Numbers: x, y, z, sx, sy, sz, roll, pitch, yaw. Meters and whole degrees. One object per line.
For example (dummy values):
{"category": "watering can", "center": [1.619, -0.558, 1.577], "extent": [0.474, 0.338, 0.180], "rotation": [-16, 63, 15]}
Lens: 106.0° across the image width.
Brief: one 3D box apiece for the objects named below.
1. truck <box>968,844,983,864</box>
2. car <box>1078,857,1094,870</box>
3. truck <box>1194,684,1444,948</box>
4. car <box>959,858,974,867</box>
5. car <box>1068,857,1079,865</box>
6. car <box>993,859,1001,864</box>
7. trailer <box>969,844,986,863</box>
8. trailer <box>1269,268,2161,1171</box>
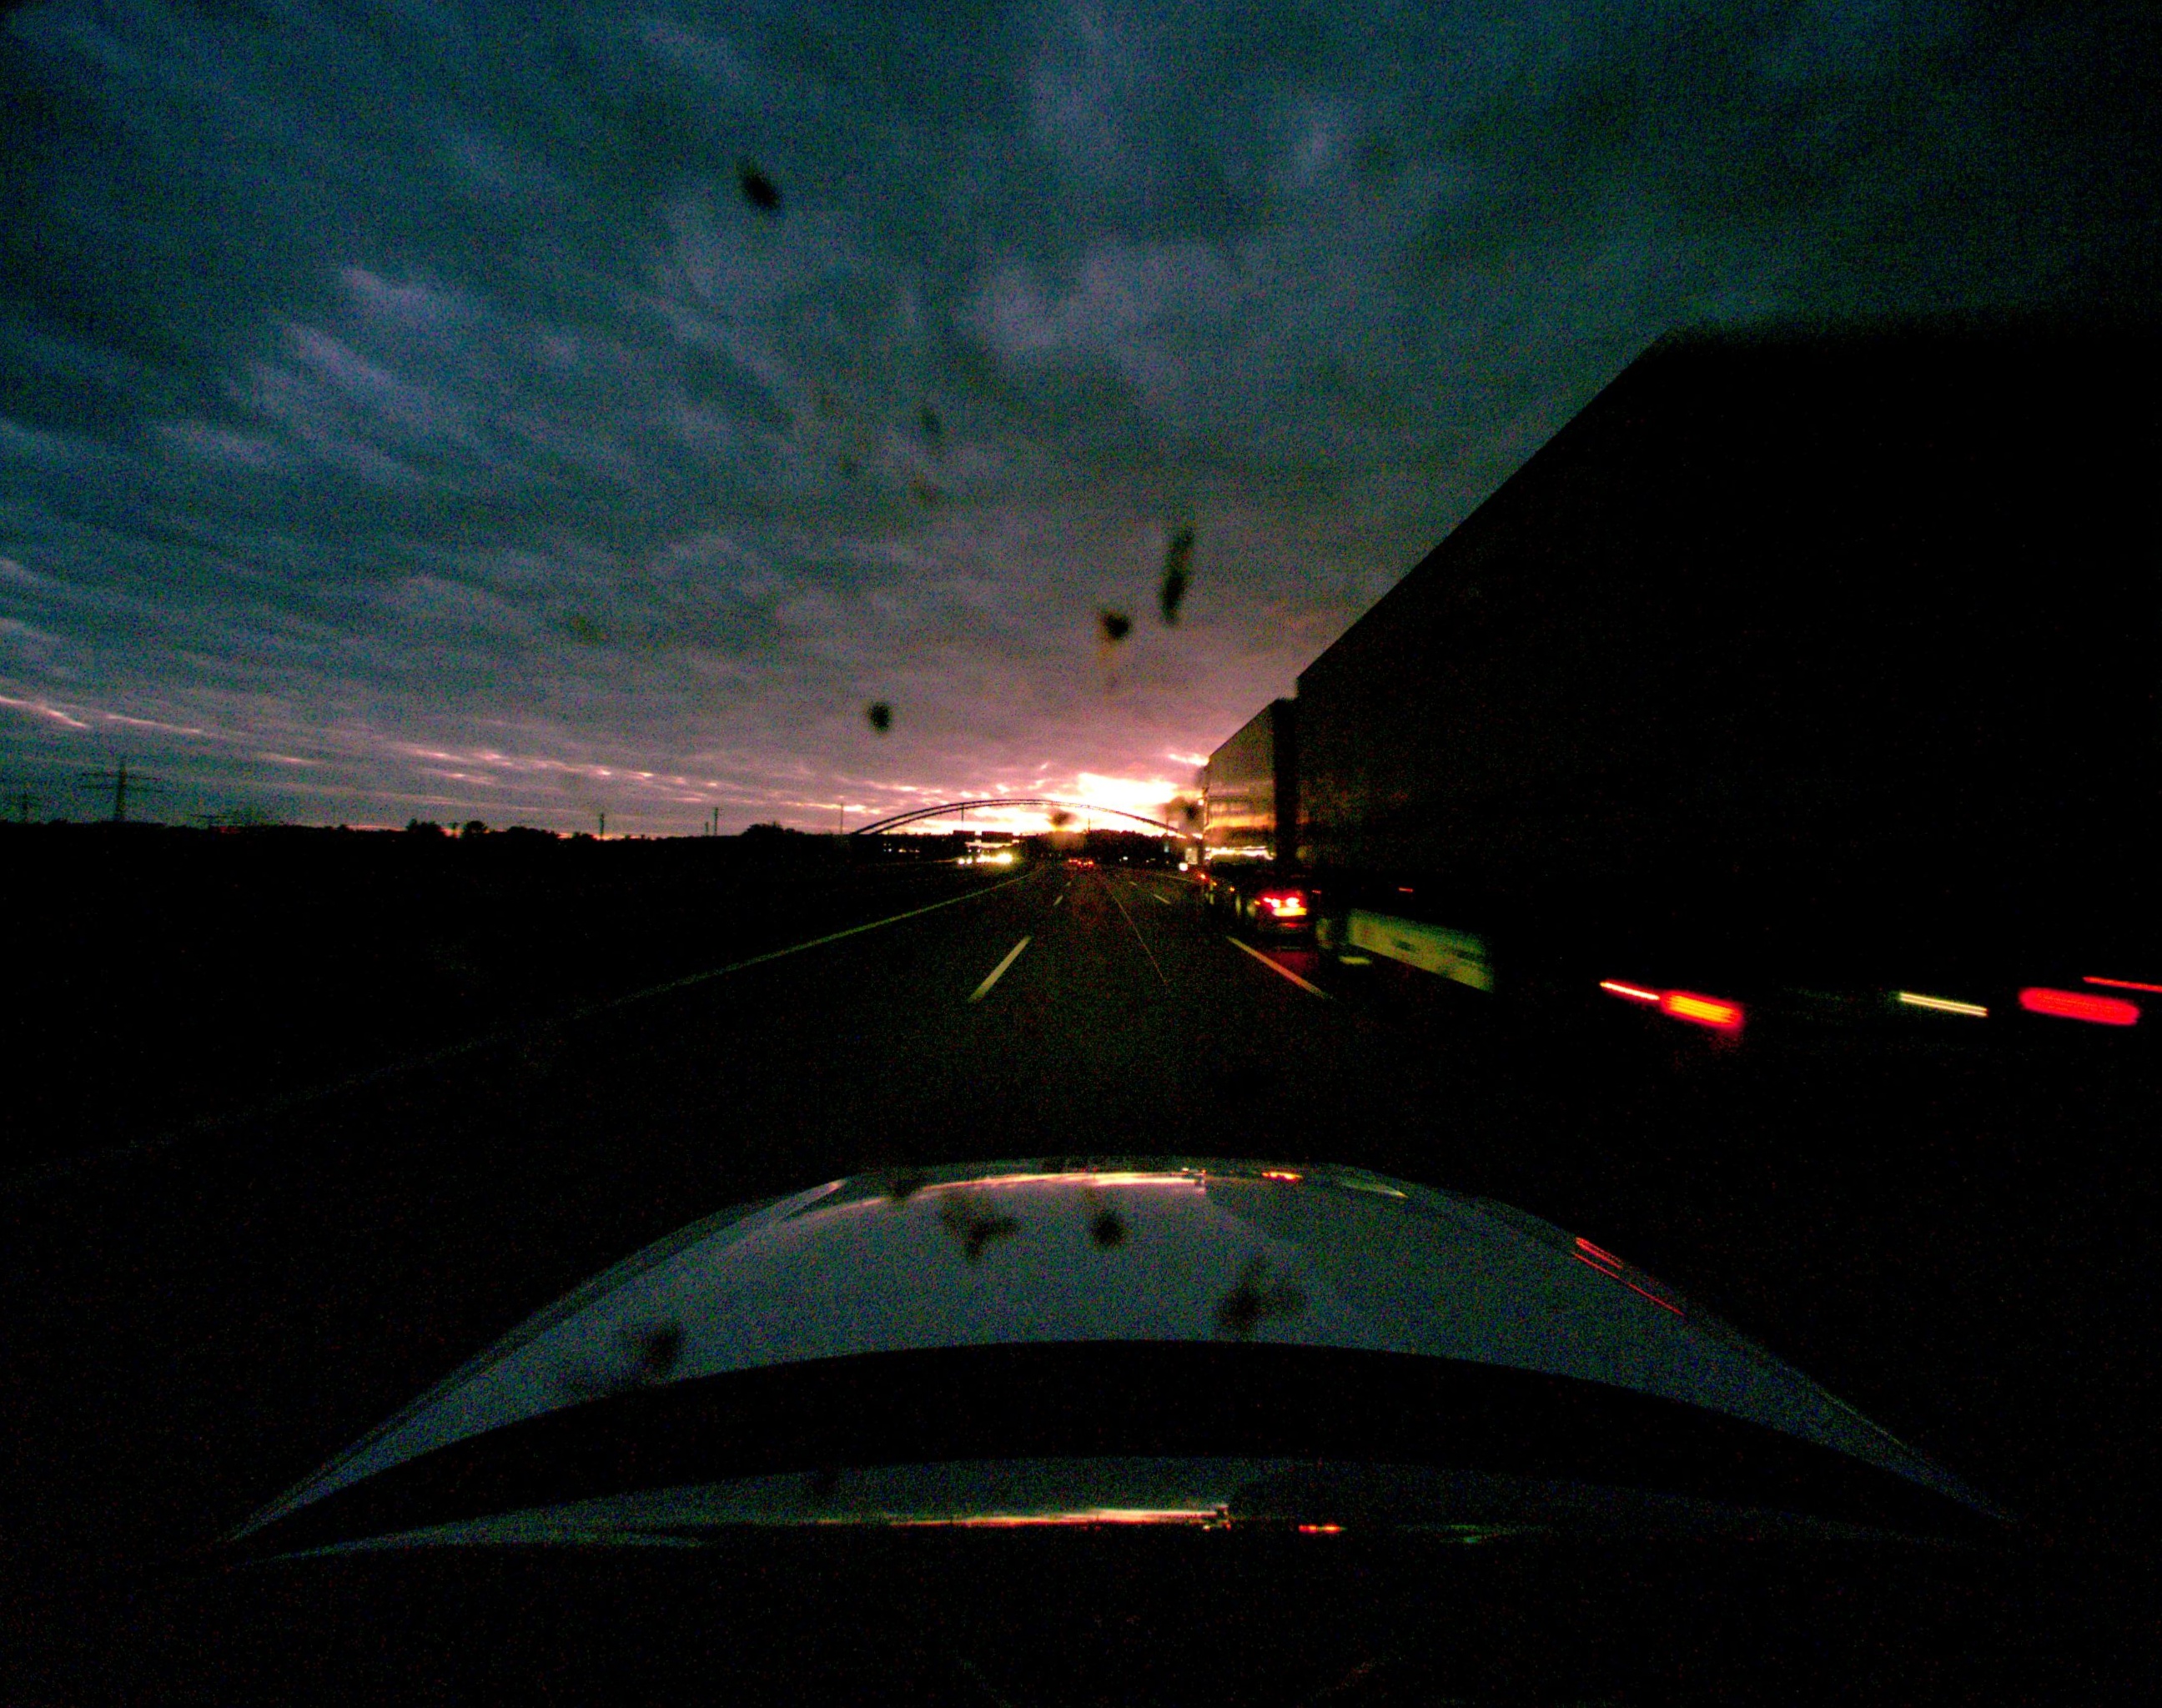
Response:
{"category": "truck", "center": [-24.508, -0.065, 189.230], "extent": [2.818, 4.507, 6.238], "rotation": [0, 0, -3]}
{"category": "car", "center": [0.596, 1.149, 97.776], "extent": [1.686, 1.401, 3.403], "rotation": [0, -2, -4]}
{"category": "truck", "center": [4.398, -0.563, 17.842], "extent": [2.680, 4.071, 10.523], "rotation": [0, 0, 2]}
{"category": "car", "center": [-21.226, 1.535, 151.763], "extent": [1.986, 1.625, 4.845], "rotation": [0, 0, 1]}
{"category": "car", "center": [-1.426, 1.336, 156.533], "extent": [1.682, 1.401, 3.411], "rotation": [-1, -2, 3]}
{"category": "car", "center": [-24.072, 2.096, 234.369], "extent": [1.988, 1.404, 4.326], "rotation": [0, 0, -2]}
{"category": "trailer", "center": [-24.723, -0.049, 195.684], "extent": [2.818, 4.507, 14.613], "rotation": [0, 0, -3]}
{"category": "trailer", "center": [4.132, -0.595, 8.095], "extent": [2.712, 4.071, 8.834], "rotation": [0, 0, 2]}
